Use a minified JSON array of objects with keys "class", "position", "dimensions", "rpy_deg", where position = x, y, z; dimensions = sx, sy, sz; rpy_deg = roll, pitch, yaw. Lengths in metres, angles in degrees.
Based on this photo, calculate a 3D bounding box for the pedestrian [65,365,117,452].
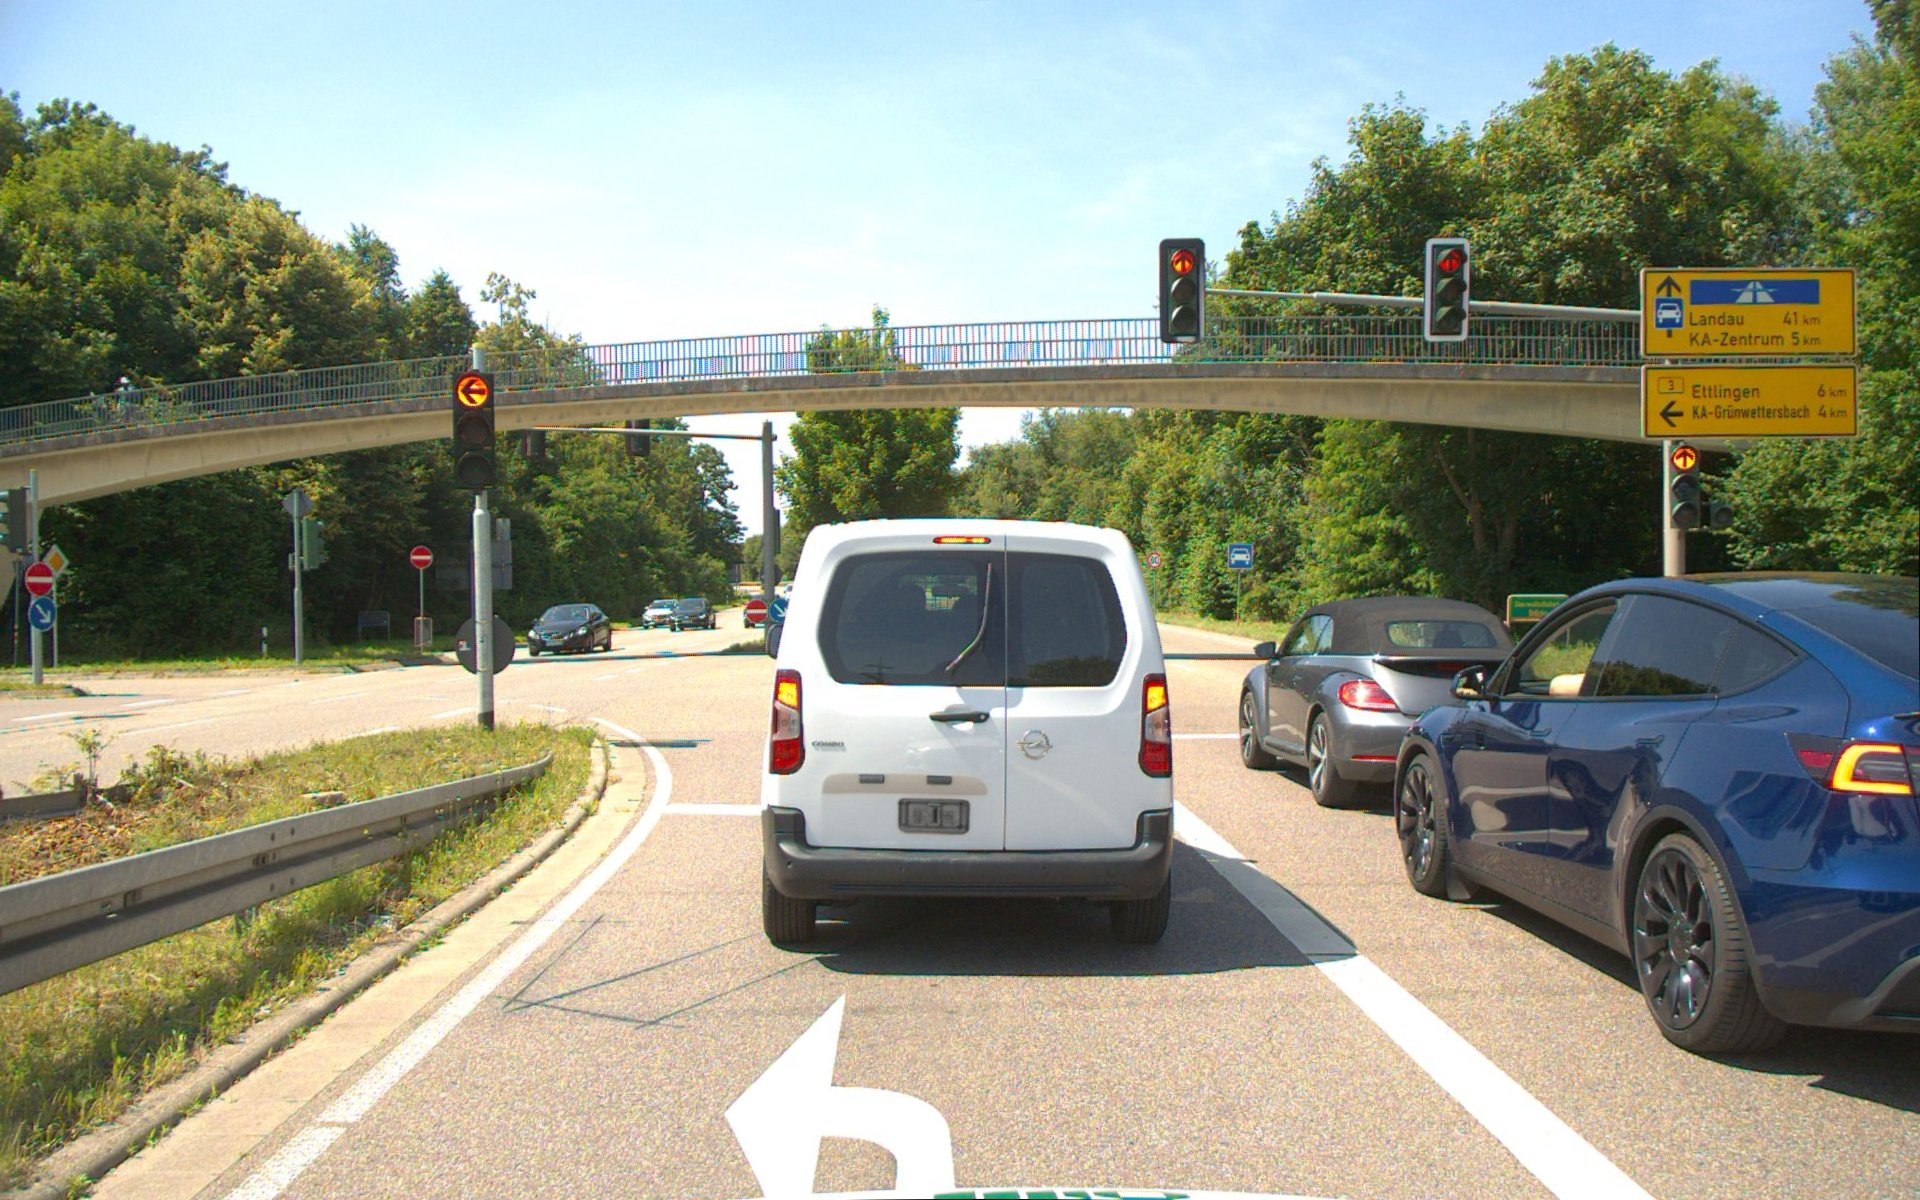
[{"class":"pedestrian","position":[-23.168,-5.096,44.114],"dimensions":[0.765,2.177,0.932],"rpy_deg":[-2,-2,15]}]

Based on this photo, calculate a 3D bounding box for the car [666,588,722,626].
[{"class":"car","position":[-12.413,0.315,77.380],"dimensions":[1.953,1.694,3.999],"rpy_deg":[-1,0,-1]}]

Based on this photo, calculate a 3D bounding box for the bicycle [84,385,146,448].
[{"class":"bicycle","position":[-22.315,-4.847,43.671],"dimensions":[1.494,1.500,0.470],"rpy_deg":[-3,-2,15]}]

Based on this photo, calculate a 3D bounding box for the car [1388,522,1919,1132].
[{"class":"car","position":[3.321,0.619,6.821],"dimensions":[1.862,1.673,4.519],"rpy_deg":[1,0,-1]}]

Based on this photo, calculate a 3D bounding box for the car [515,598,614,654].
[{"class":"car","position":[-11.604,0.738,48.806],"dimensions":[1.967,1.486,4.054],"rpy_deg":[-2,0,-1]}]

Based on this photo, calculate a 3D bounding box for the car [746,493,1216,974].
[{"class":"car","position":[0.028,0.490,8.435],"dimensions":[1.812,1.857,3.980],"rpy_deg":[1,1,-2]}]

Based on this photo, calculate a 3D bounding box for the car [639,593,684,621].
[{"class":"car","position":[-15.796,0.354,87.675],"dimensions":[1.717,1.431,3.999],"rpy_deg":[-1,0,-1]}]

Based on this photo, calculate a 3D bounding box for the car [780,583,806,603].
[{"class":"car","position":[-14.674,-0.591,145.578],"dimensions":[1.953,1.694,3.999],"rpy_deg":[-1,0,-1]}]

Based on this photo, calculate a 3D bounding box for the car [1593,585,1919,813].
[{"class":"car","position":[6.827,0.647,13.133],"dimensions":[1.862,1.503,4.380],"rpy_deg":[1,0,-1]}]

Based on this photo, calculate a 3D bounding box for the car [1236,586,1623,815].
[{"class":"car","position":[3.472,0.659,13.027],"dimensions":[1.862,1.503,3.938],"rpy_deg":[1,0,-1]}]
